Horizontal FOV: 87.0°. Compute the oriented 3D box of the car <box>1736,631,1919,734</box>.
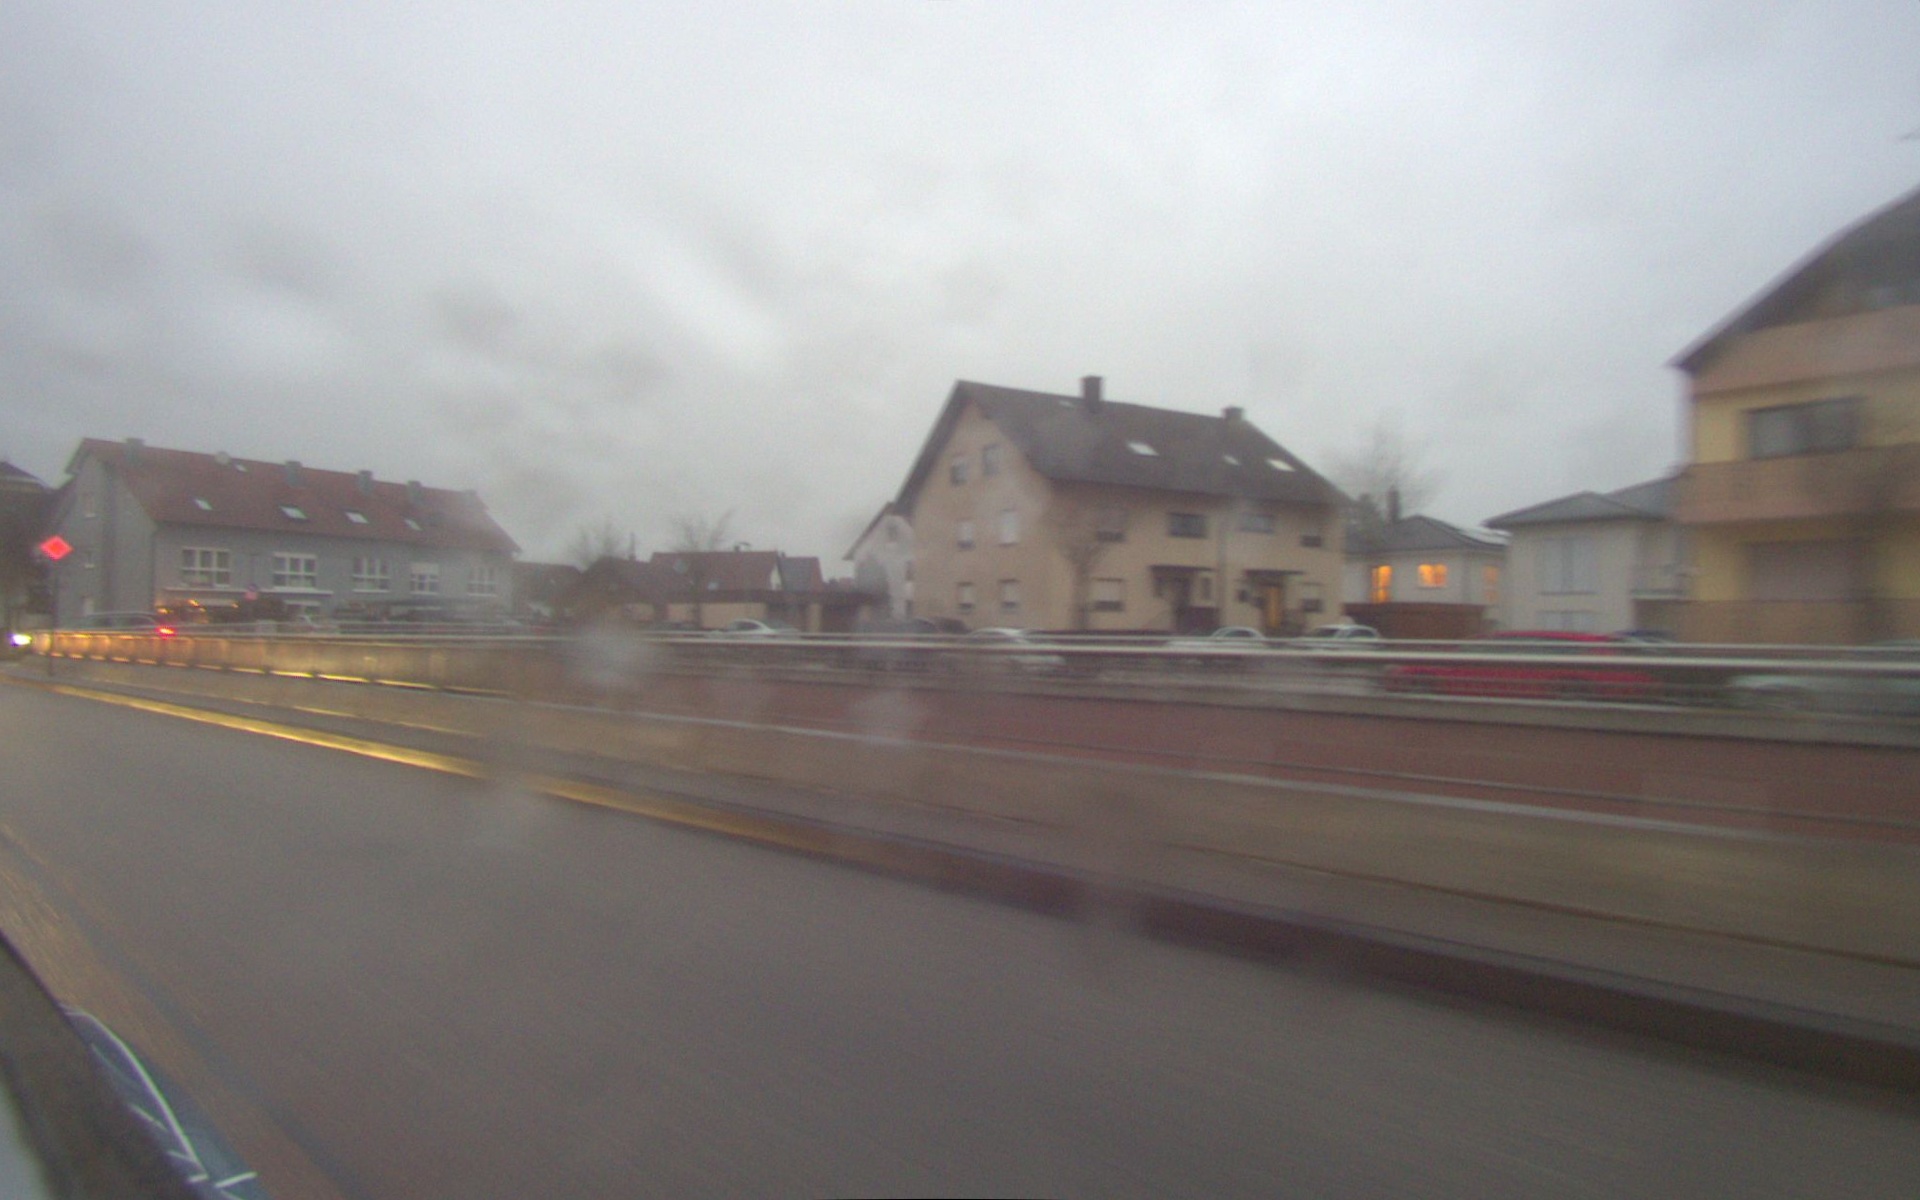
[{"bbox_3d":[14.875,1.253,15.818,1.855,1.517,4.146,1,-2,-45],"label":"car"}]

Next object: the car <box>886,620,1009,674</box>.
[{"bbox_3d":[-0.468,1.546,34.133,4.000,1.659,1.791,-2,0,43],"label":"car"}]

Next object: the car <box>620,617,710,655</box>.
[{"bbox_3d":[-12.074,1.438,41.389,3.830,1.425,1.659,0,1,40],"label":"car"}]

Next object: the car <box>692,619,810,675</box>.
[{"bbox_3d":[-7.857,1.726,37.941,4.352,1.919,1.974,-2,0,38],"label":"car"}]

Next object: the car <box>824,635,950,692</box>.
[{"bbox_3d":[-2.381,1.975,32.470,4.002,1.529,1.875,0,1,45],"label":"car"}]

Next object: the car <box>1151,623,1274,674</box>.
[{"bbox_3d":[8.886,1.658,35.618,3.971,1.535,1.819,-2,0,-28],"label":"car"}]

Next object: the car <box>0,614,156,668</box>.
[{"bbox_3d":[-31.247,1.401,35.537,1.993,1.633,4.300,-1,0,32],"label":"car"}]

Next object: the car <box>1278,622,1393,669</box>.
[{"bbox_3d":[14.256,1.677,38.409,3.931,1.556,2.006,-1,0,-29],"label":"car"}]

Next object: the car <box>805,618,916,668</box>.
[{"bbox_3d":[-3.693,1.546,37.206,3.997,1.659,1.816,-2,0,41],"label":"car"}]

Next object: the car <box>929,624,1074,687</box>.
[{"bbox_3d":[1.140,1.565,29.301,3.986,1.636,1.796,-2,0,45],"label":"car"}]

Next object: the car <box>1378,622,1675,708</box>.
[{"bbox_3d":[10.769,1.158,19.522,1.854,1.453,4.652,1,-2,-44],"label":"car"}]
